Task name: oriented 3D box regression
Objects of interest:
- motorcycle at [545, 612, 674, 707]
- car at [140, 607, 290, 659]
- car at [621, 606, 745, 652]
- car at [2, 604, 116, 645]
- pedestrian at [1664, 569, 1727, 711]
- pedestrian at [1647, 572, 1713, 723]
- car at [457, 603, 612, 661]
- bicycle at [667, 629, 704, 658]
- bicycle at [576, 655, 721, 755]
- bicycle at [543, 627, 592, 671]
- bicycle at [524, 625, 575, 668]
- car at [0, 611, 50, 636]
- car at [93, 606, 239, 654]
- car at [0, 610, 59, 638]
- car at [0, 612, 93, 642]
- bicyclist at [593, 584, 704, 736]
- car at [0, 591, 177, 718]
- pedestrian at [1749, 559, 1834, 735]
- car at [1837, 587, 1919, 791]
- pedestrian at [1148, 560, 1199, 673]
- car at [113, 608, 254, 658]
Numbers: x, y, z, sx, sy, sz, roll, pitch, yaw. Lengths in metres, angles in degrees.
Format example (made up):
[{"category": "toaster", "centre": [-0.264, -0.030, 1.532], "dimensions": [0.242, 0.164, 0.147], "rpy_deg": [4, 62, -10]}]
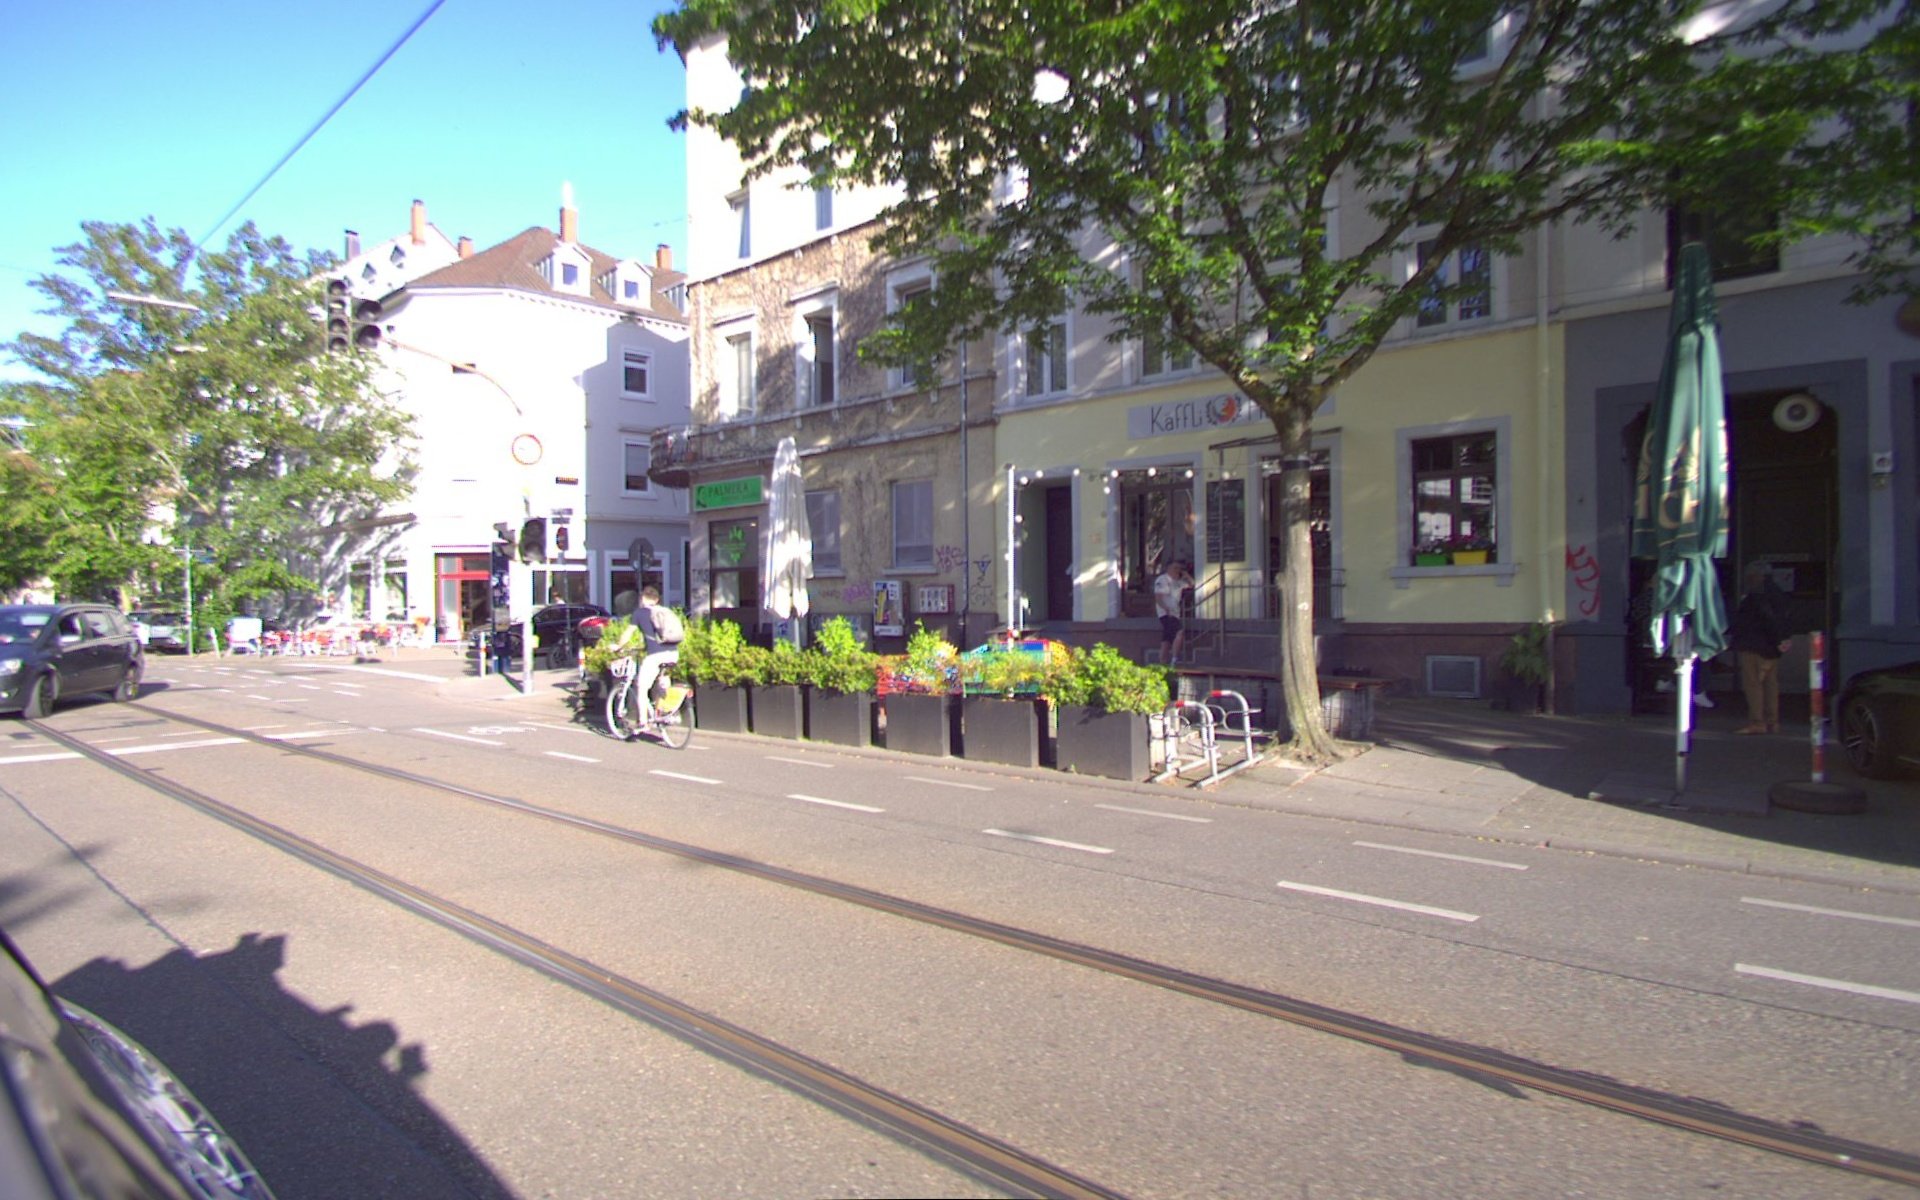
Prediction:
[{"category": "motorcycle", "centre": [-5.772, 0.928, 16.877], "dimensions": [0.989, 1.361, 2.414], "rpy_deg": [0, 2, 10]}, {"category": "car", "centre": [-26.023, 1.101, 35.524], "dimensions": [1.606, 1.567, 4.114], "rpy_deg": [0, 1, 16]}, {"category": "car", "centre": [-9.729, 0.998, 35.720], "dimensions": [3.896, 1.514, 1.652], "rpy_deg": [0, -2, -45]}, {"category": "car", "centre": [-46.187, 1.228, 52.003], "dimensions": [1.867, 1.901, 4.126], "rpy_deg": [0, 1, 8]}, {"category": "pedestrian", "centre": [8.840, 0.470, 12.163], "dimensions": [0.569, 1.655, 0.533], "rpy_deg": [-1, -2, 38]}, {"category": "pedestrian", "centre": [8.160, 0.523, 11.472], "dimensions": [0.569, 1.655, 0.533], "rpy_deg": [-1, -2, 38]}, {"category": "car", "centre": [-13.350, 0.976, 31.866], "dimensions": [4.135, 1.675, 1.767], "rpy_deg": [0, -2, -45]}, {"category": "bicycle", "centre": [-8.178, 1.292, 30.132], "dimensions": [1.311, 0.824, 0.351], "rpy_deg": [-1, -1, 38]}, {"category": "bicycle", "centre": [-3.470, 1.120, 11.175], "dimensions": [1.882, 0.960, 0.604], "rpy_deg": [-1, -1, 40]}, {"category": "bicycle", "centre": [-9.957, 1.218, 25.692], "dimensions": [0.445, 1.054, 1.661], "rpy_deg": [0, -1, 6]}, {"category": "bicycle", "centre": [-10.437, 1.186, 25.774], "dimensions": [0.453, 1.054, 1.684], "rpy_deg": [0, -3, 6]}, {"category": "car", "centre": [-64.029, 1.585, 67.878], "dimensions": [1.611, 1.499, 4.101], "rpy_deg": [0, 1, 25]}, {"category": "car", "centre": [-29.930, 1.095, 38.314], "dimensions": [1.608, 1.567, 4.107], "rpy_deg": [0, 1, 21]}, {"category": "car", "centre": [-61.503, 1.590, 65.737], "dimensions": [1.611, 1.674, 4.101], "rpy_deg": [0, 1, 25]}, {"category": "car", "centre": [-53.643, 1.546, 59.323], "dimensions": [1.619, 1.499, 4.081], "rpy_deg": [1, 2, 40]}, {"category": "bicyclist", "centre": [-3.435, 0.629, 11.151], "dimensions": [1.028, 1.584, 0.717], "rpy_deg": [-1, -1, 40]}, {"category": "car", "centre": [-14.188, 0.816, 15.542], "dimensions": [1.769, 1.675, 5.200], "rpy_deg": [-1, -2, -18]}, {"category": "pedestrian", "centre": [8.460, 0.466, 10.311], "dimensions": [0.537, 1.728, 0.500], "rpy_deg": [-1, -1, 26]}, {"category": "car", "centre": [7.501, 0.650, 6.044], "dimensions": [1.674, 1.502, 4.618], "rpy_deg": [0, 0, 17]}, {"category": "pedestrian", "centre": [3.198, 0.249, 15.132], "dimensions": [0.569, 1.655, 0.533], "rpy_deg": [-1, -2, 38]}, {"category": "car", "centre": [-27.885, 1.152, 36.515], "dimensions": [1.601, 1.567, 4.126], "rpy_deg": [0, 1, 8]}]
